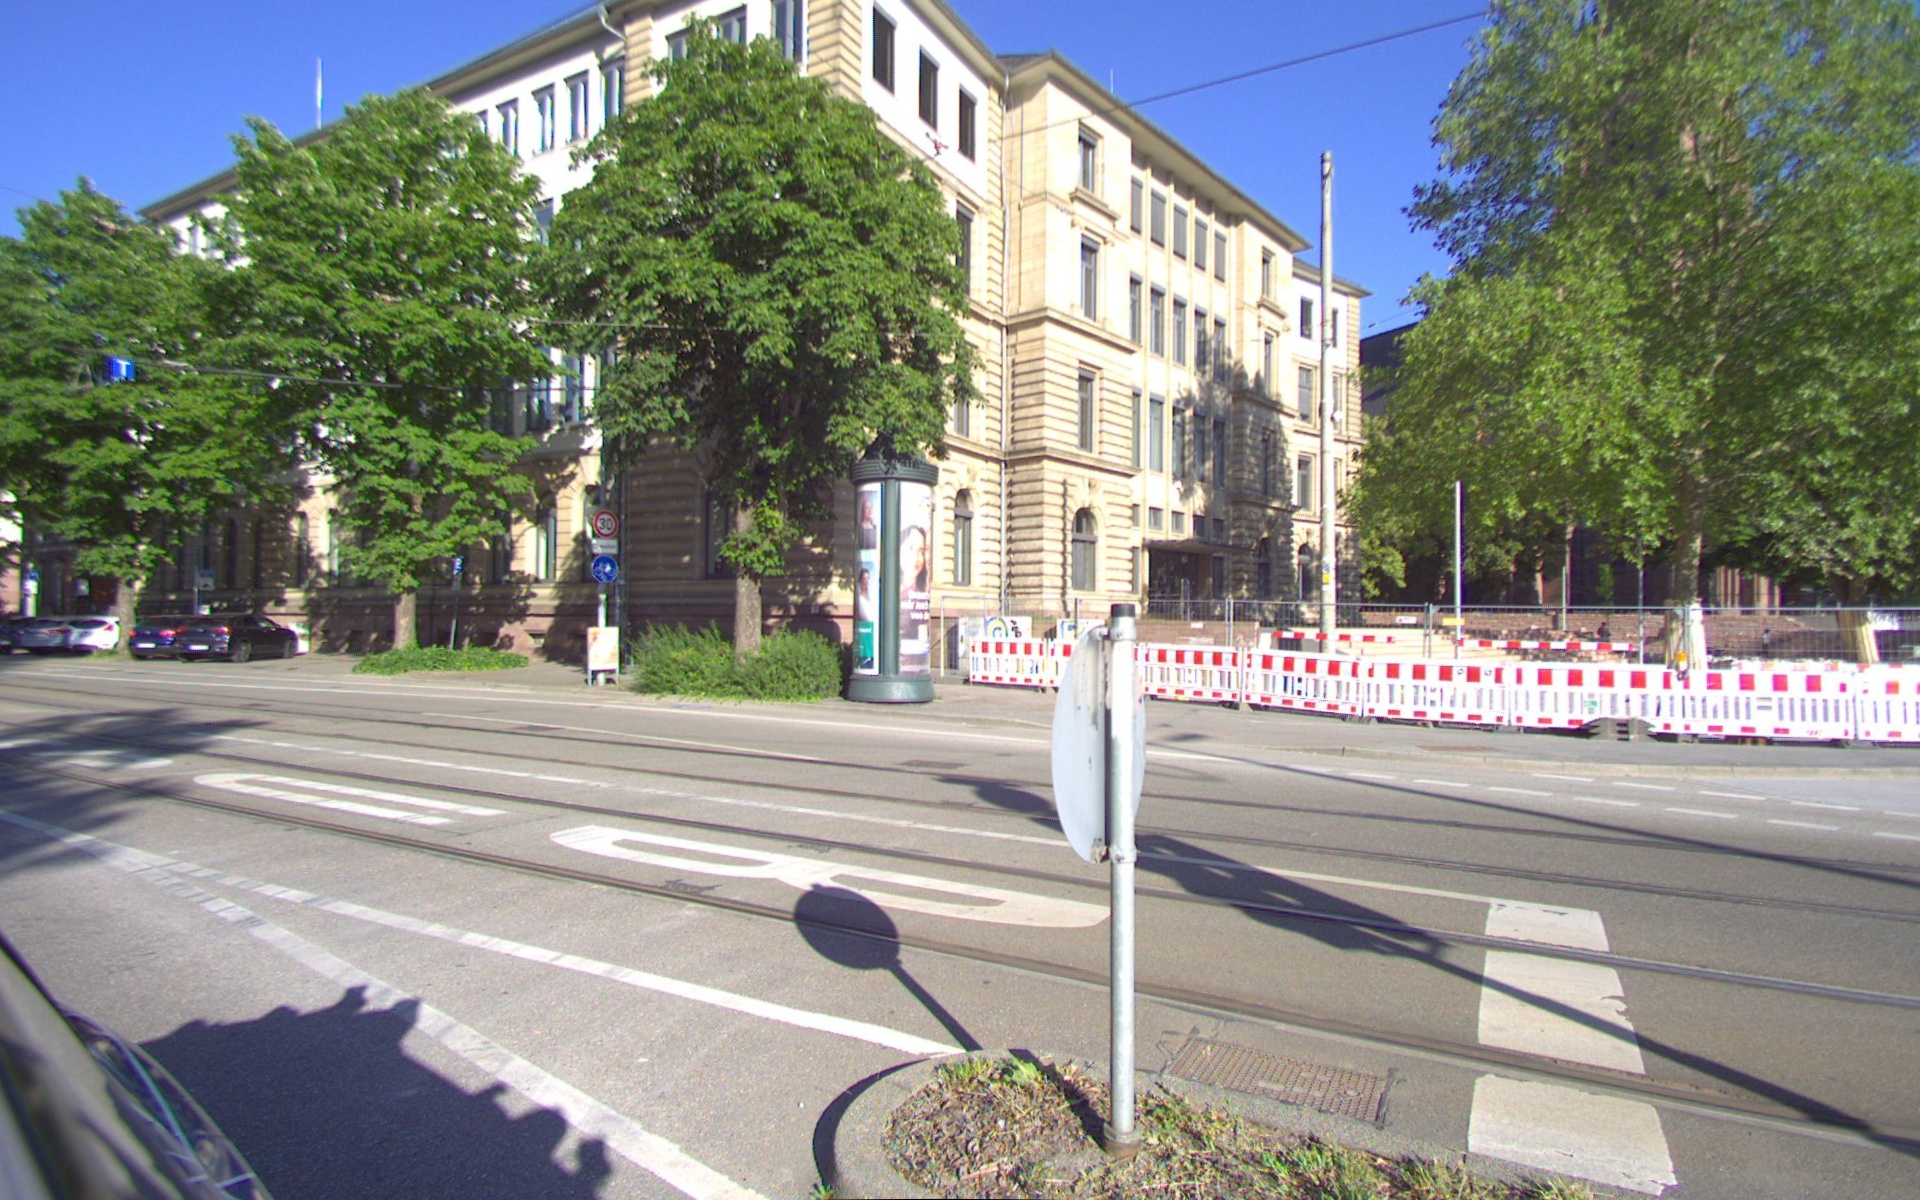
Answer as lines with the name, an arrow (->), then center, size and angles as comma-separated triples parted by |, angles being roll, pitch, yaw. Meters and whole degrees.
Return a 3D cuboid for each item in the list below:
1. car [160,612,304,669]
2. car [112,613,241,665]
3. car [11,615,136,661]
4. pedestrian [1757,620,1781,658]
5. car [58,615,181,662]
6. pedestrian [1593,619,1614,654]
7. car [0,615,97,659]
car -> -23.616, 1.262, 33.036 | 1.819, 1.643, 4.184 | -1, 0, -3
car -> -26.246, 1.272, 34.038 | 1.626, 1.572, 3.652 | -1, 0, -3
car -> -33.230, 1.392, 38.065 | 1.626, 1.572, 3.652 | -1, 0, -3
pedestrian -> 35.937, 1.739, 44.963 | 0.666, 1.660, 0.762 | 1, -2, -45
car -> -30.917, 1.374, 37.355 | 1.626, 1.572, 3.652 | -1, 0, -3
pedestrian -> 30.429, 1.730, 47.852 | 0.627, 1.660, 0.677 | 1, -2, -37
car -> -36.246, 1.415, 39.774 | 1.626, 1.572, 3.652 | -1, 0, -3
